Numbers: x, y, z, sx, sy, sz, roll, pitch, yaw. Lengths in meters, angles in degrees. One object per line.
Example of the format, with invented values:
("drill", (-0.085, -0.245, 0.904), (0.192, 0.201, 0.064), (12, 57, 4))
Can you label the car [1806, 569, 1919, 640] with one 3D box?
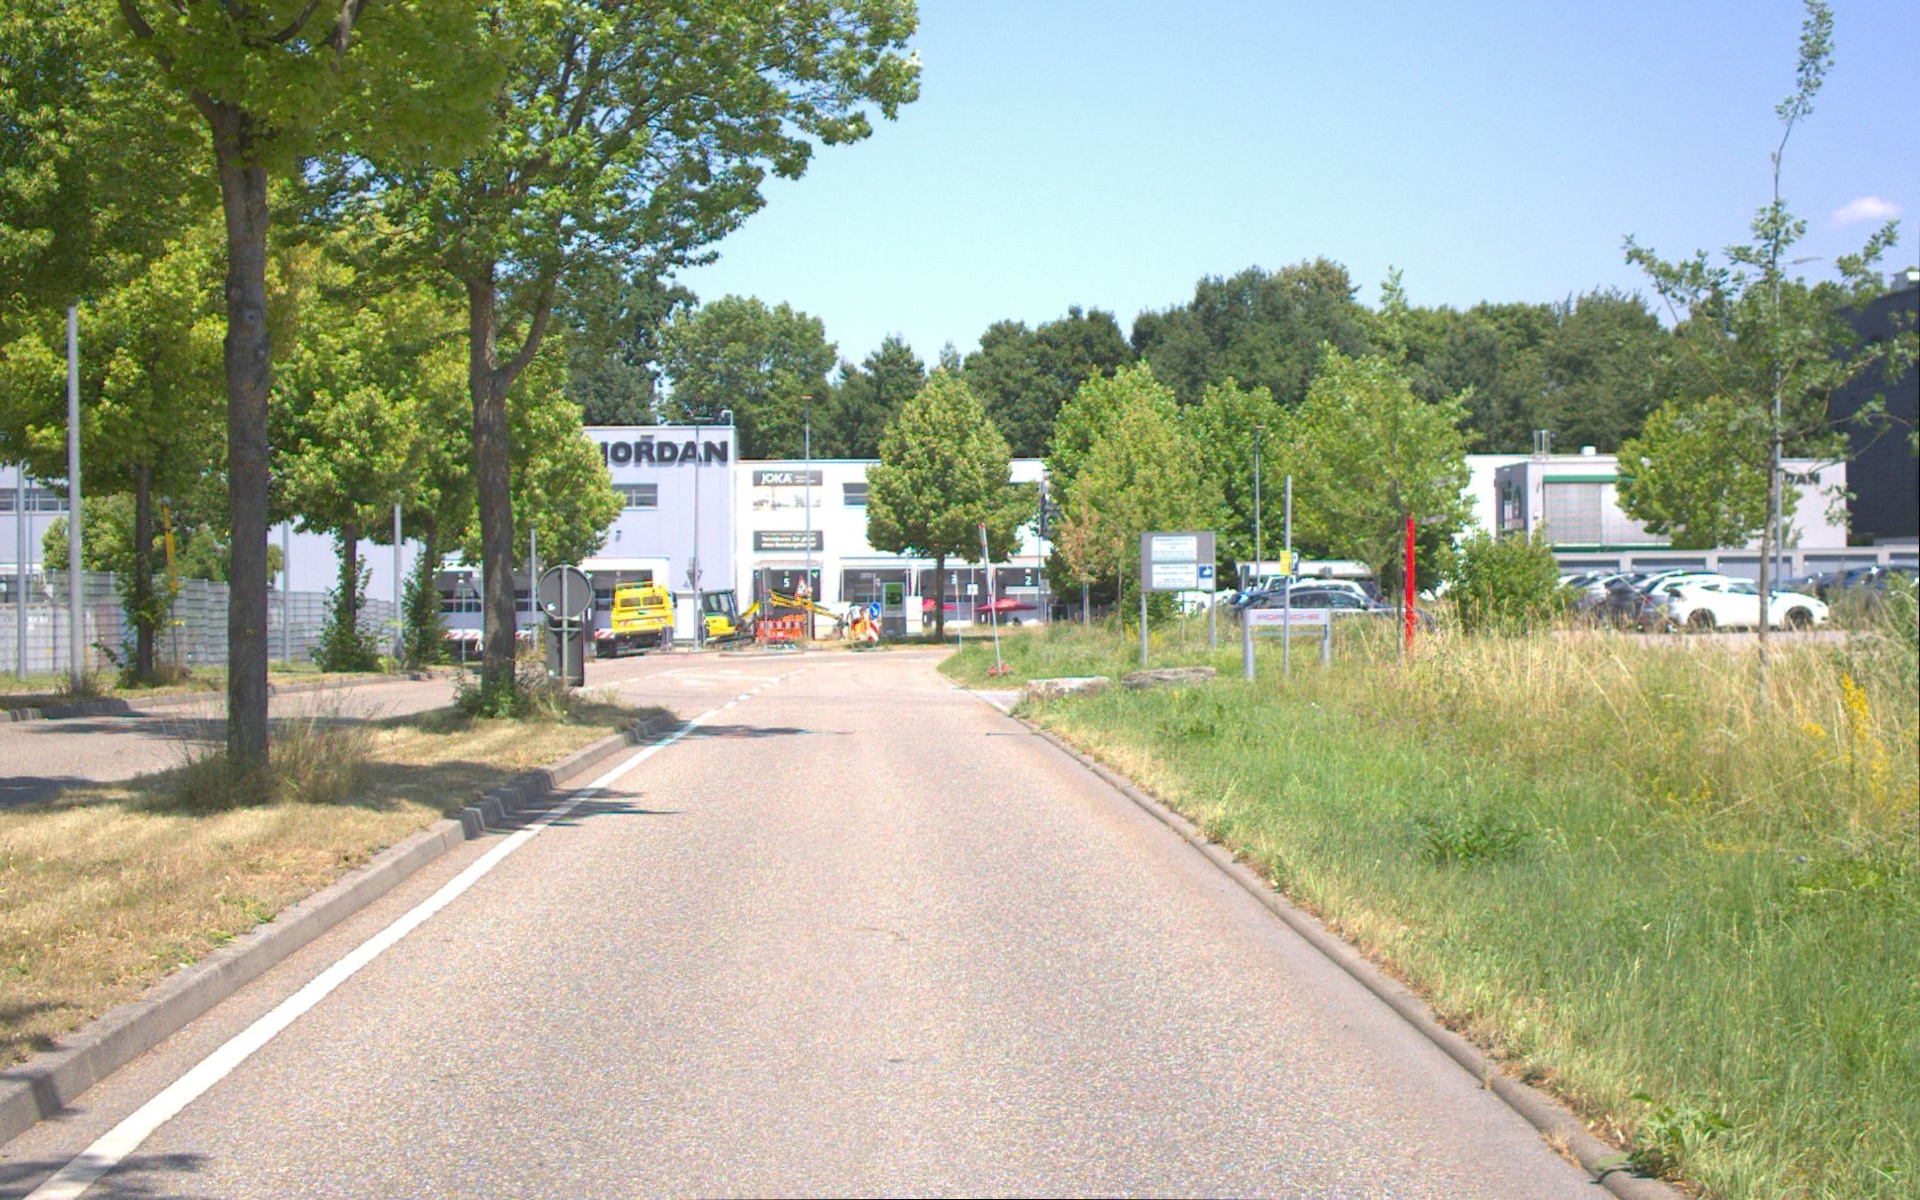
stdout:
("car", (23.747, 0.082, 87.330), (3.986, 1.590, 1.769), (-2, 3, -5))

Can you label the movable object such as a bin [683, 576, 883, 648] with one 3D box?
("movable object such as a bin", (-7.159, 0.472, 139.843), (7.528, 2.491, 3.666), (-1, 3, 7))

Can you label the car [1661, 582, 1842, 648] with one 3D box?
("car", (19.523, 0.363, 84.889), (3.986, 1.395, 1.769), (-2, 3, -4))

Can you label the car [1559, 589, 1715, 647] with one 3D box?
("car", (19.275, 0.508, 97.953), (3.986, 1.395, 1.769), (-2, 3, -5))

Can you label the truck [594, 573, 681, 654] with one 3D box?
("truck", (-13.161, 0.519, 139.920), (2.938, 2.876, 5.812), (-2, 3, -10))

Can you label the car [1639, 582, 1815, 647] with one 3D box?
("car", (19.430, 0.367, 87.134), (3.986, 1.395, 1.769), (-2, 3, -5))

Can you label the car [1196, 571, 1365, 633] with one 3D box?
("car", (8.476, 0.044, 91.147), (4.162, 1.395, 1.769), (-2, 3, -5))

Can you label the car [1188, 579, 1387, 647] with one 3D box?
("car", (8.040, 0.316, 84.767), (4.704, 1.395, 1.922), (-2, 3, 1))

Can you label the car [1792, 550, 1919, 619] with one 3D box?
("car", (24.115, -0.417, 90.312), (3.986, 1.590, 1.769), (-2, 3, -5))

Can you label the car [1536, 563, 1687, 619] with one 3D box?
("car", (19.076, -0.277, 100.712), (3.986, 1.395, 1.769), (-2, 3, -5))

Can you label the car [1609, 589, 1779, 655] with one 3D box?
("car", (19.223, 0.560, 90.153), (3.986, 1.485, 1.769), (-2, 3, -5))

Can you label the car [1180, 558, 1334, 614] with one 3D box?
("car", (8.574, -0.416, 99.445), (4.162, 1.395, 1.769), (-2, 3, -5))
